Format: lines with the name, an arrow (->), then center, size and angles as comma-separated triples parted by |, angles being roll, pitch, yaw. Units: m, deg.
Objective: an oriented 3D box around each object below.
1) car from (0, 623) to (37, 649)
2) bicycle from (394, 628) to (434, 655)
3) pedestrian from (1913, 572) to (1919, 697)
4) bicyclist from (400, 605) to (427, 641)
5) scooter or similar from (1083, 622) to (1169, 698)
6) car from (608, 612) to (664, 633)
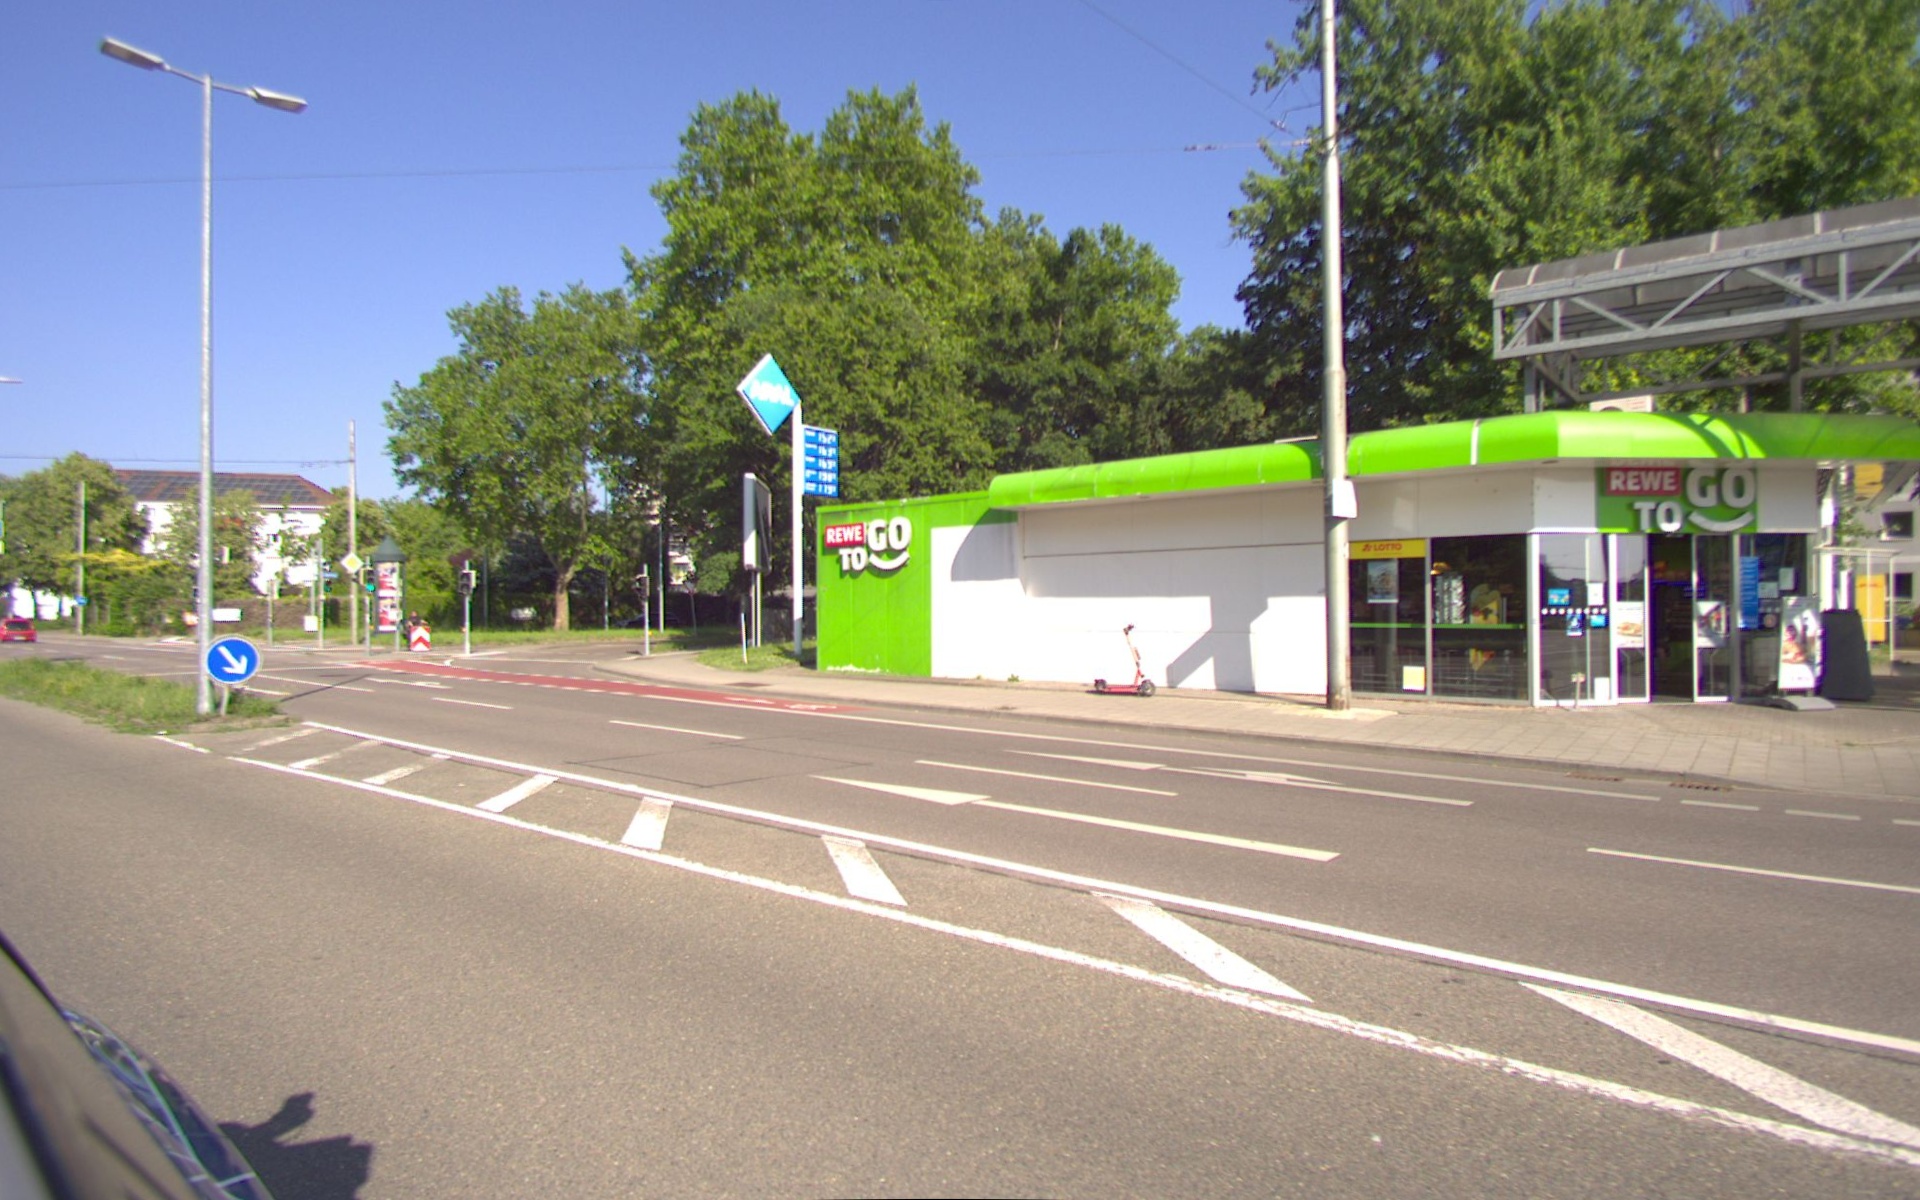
car -> -55.205, 2.101, 59.049 | 3.331, 1.427, 1.558 | -1, -1, 40
bicycle -> -22.671, 1.721, 41.993 | 2.580, 1.057, 0.654 | -1, -1, 43
pedestrian -> 13.976, 0.480, 14.230 | 0.759, 1.759, 0.785 | 0, -1, -45
bicyclist -> -22.700, 0.936, 42.024 | 1.051, 1.463, 0.654 | -1, -1, 42
scooter or similar -> 2.803, 0.991, 17.155 | 1.310, 1.182, 0.527 | -1, 4, 43
car -> -22.734, 1.571, 71.045 | 3.374, 1.317, 1.509 | -3, 2, -45
